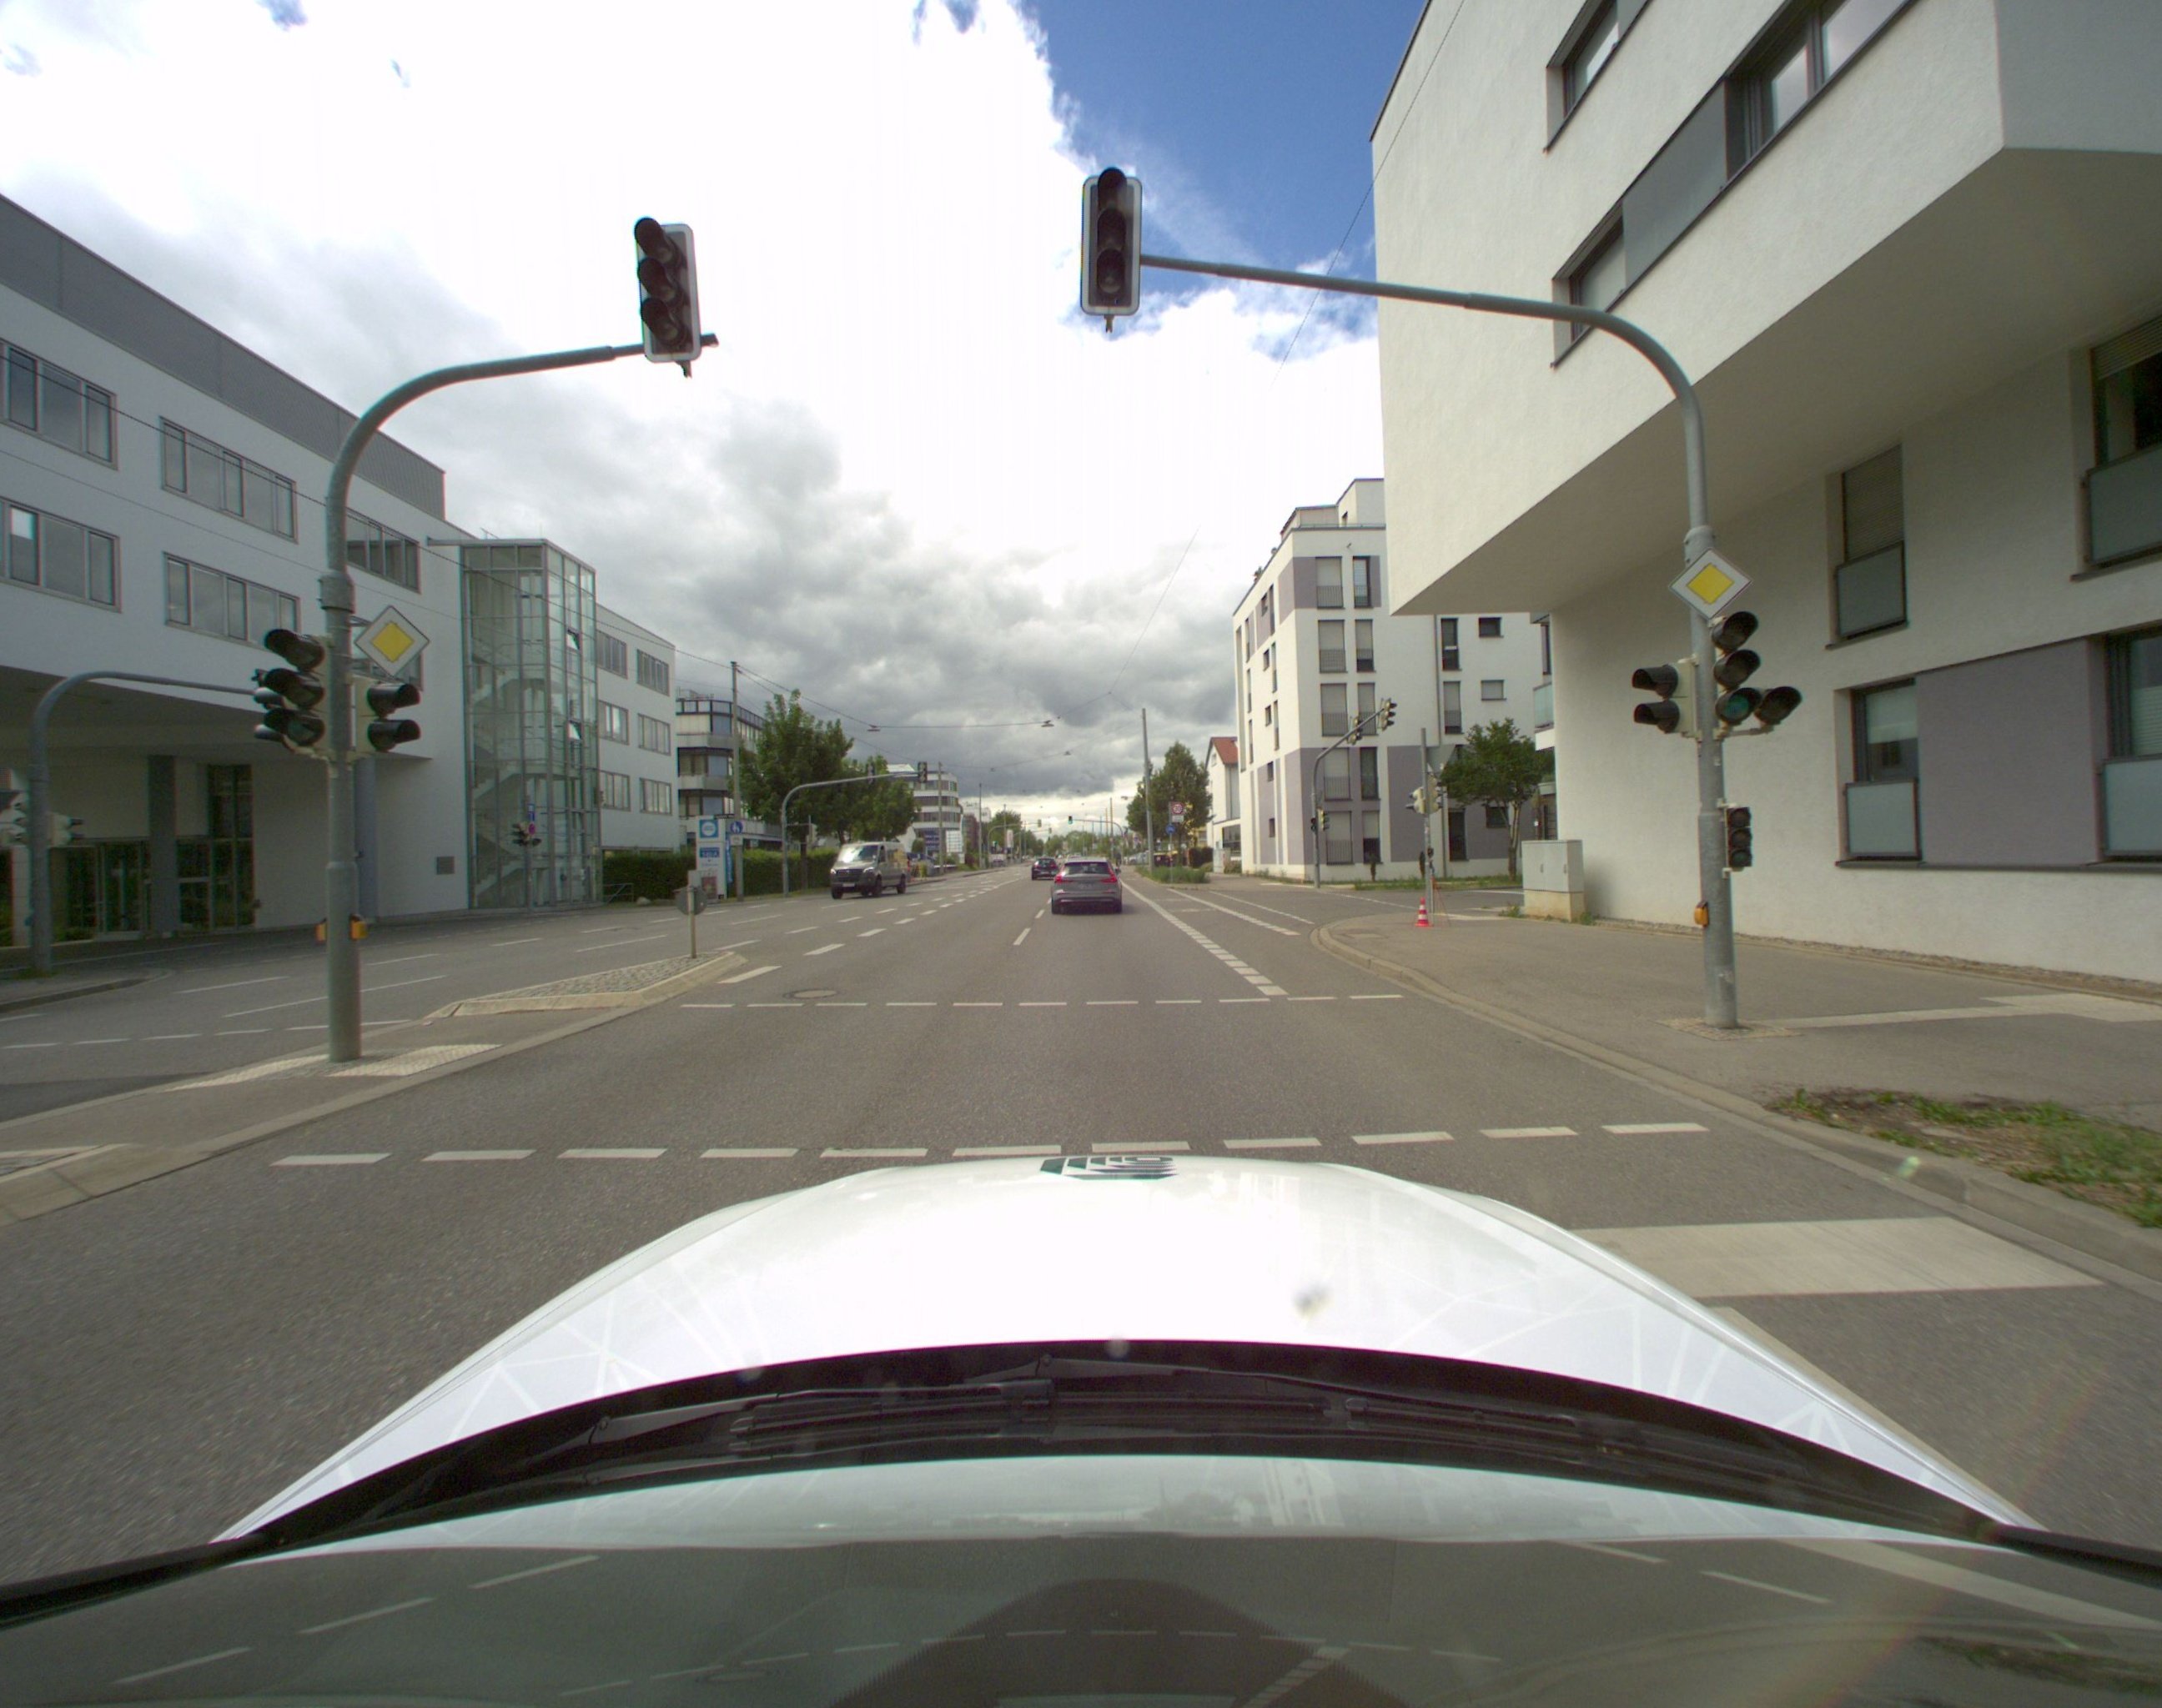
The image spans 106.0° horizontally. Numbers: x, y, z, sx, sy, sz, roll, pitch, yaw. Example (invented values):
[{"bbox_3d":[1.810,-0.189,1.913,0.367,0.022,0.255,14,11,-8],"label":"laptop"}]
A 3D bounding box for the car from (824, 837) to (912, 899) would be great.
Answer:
[{"bbox_3d":[-9.482,0.602,36.863,2.135,2.471,6.074,-3,0,1],"label":"car"}]

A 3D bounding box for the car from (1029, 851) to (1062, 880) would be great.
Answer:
[{"bbox_3d":[-2.230,0.738,51.952,1.988,1.717,3.997,0,-1,-2],"label":"car"}]

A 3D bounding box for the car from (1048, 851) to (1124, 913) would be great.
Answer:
[{"bbox_3d":[0.128,0.735,22.399,1.890,1.554,3.999,0,-1,0],"label":"car"}]

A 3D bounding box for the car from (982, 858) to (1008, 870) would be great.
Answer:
[{"bbox_3d":[-14.153,1.611,134.071,4.090,1.397,1.903,-7,1,-7],"label":"car"}]

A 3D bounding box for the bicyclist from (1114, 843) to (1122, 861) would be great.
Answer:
[{"bbox_3d":[3.551,-0.145,78.460,0.636,1.675,0.890,-5,0,0],"label":"bicyclist"}]

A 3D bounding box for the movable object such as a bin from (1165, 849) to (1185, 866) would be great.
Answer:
[{"bbox_3d":[8.617,0.316,74.677,1.306,1.435,1.259,-3,-2,37],"label":"movable object such as a bin"}]

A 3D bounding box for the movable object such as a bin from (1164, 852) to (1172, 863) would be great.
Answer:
[{"bbox_3d":[8.004,0.320,75.212,0.561,1.026,0.408,-3,-2,37],"label":"movable object such as a bin"}]

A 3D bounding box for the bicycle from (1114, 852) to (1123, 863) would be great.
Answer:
[{"bbox_3d":[3.596,0.328,78.382,0.636,1.063,1.977,-5,0,1],"label":"bicycle"}]

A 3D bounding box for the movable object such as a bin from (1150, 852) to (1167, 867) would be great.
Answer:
[{"bbox_3d":[7.081,0.489,74.350,1.309,1.361,1.256,-2,-2,16],"label":"movable object such as a bin"}]

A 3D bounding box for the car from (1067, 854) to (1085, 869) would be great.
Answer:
[{"bbox_3d":[-0.601,0.911,93.287,1.987,1.695,3.999,0,-1,0],"label":"car"}]

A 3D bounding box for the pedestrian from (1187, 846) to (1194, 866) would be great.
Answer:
[{"bbox_3d":[9.789,0.198,72.915,0.503,1.765,0.503,0,-1,17],"label":"pedestrian"}]

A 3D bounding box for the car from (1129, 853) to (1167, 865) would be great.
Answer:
[{"bbox_3d":[8.480,0.622,103.351,4.682,1.493,2.045,-1,0,-1],"label":"car"}]

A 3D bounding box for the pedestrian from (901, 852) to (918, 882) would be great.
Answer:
[{"bbox_3d":[-11.484,0.862,54.407,0.717,2.014,0.815,-1,-2,43],"label":"pedestrian"}]
